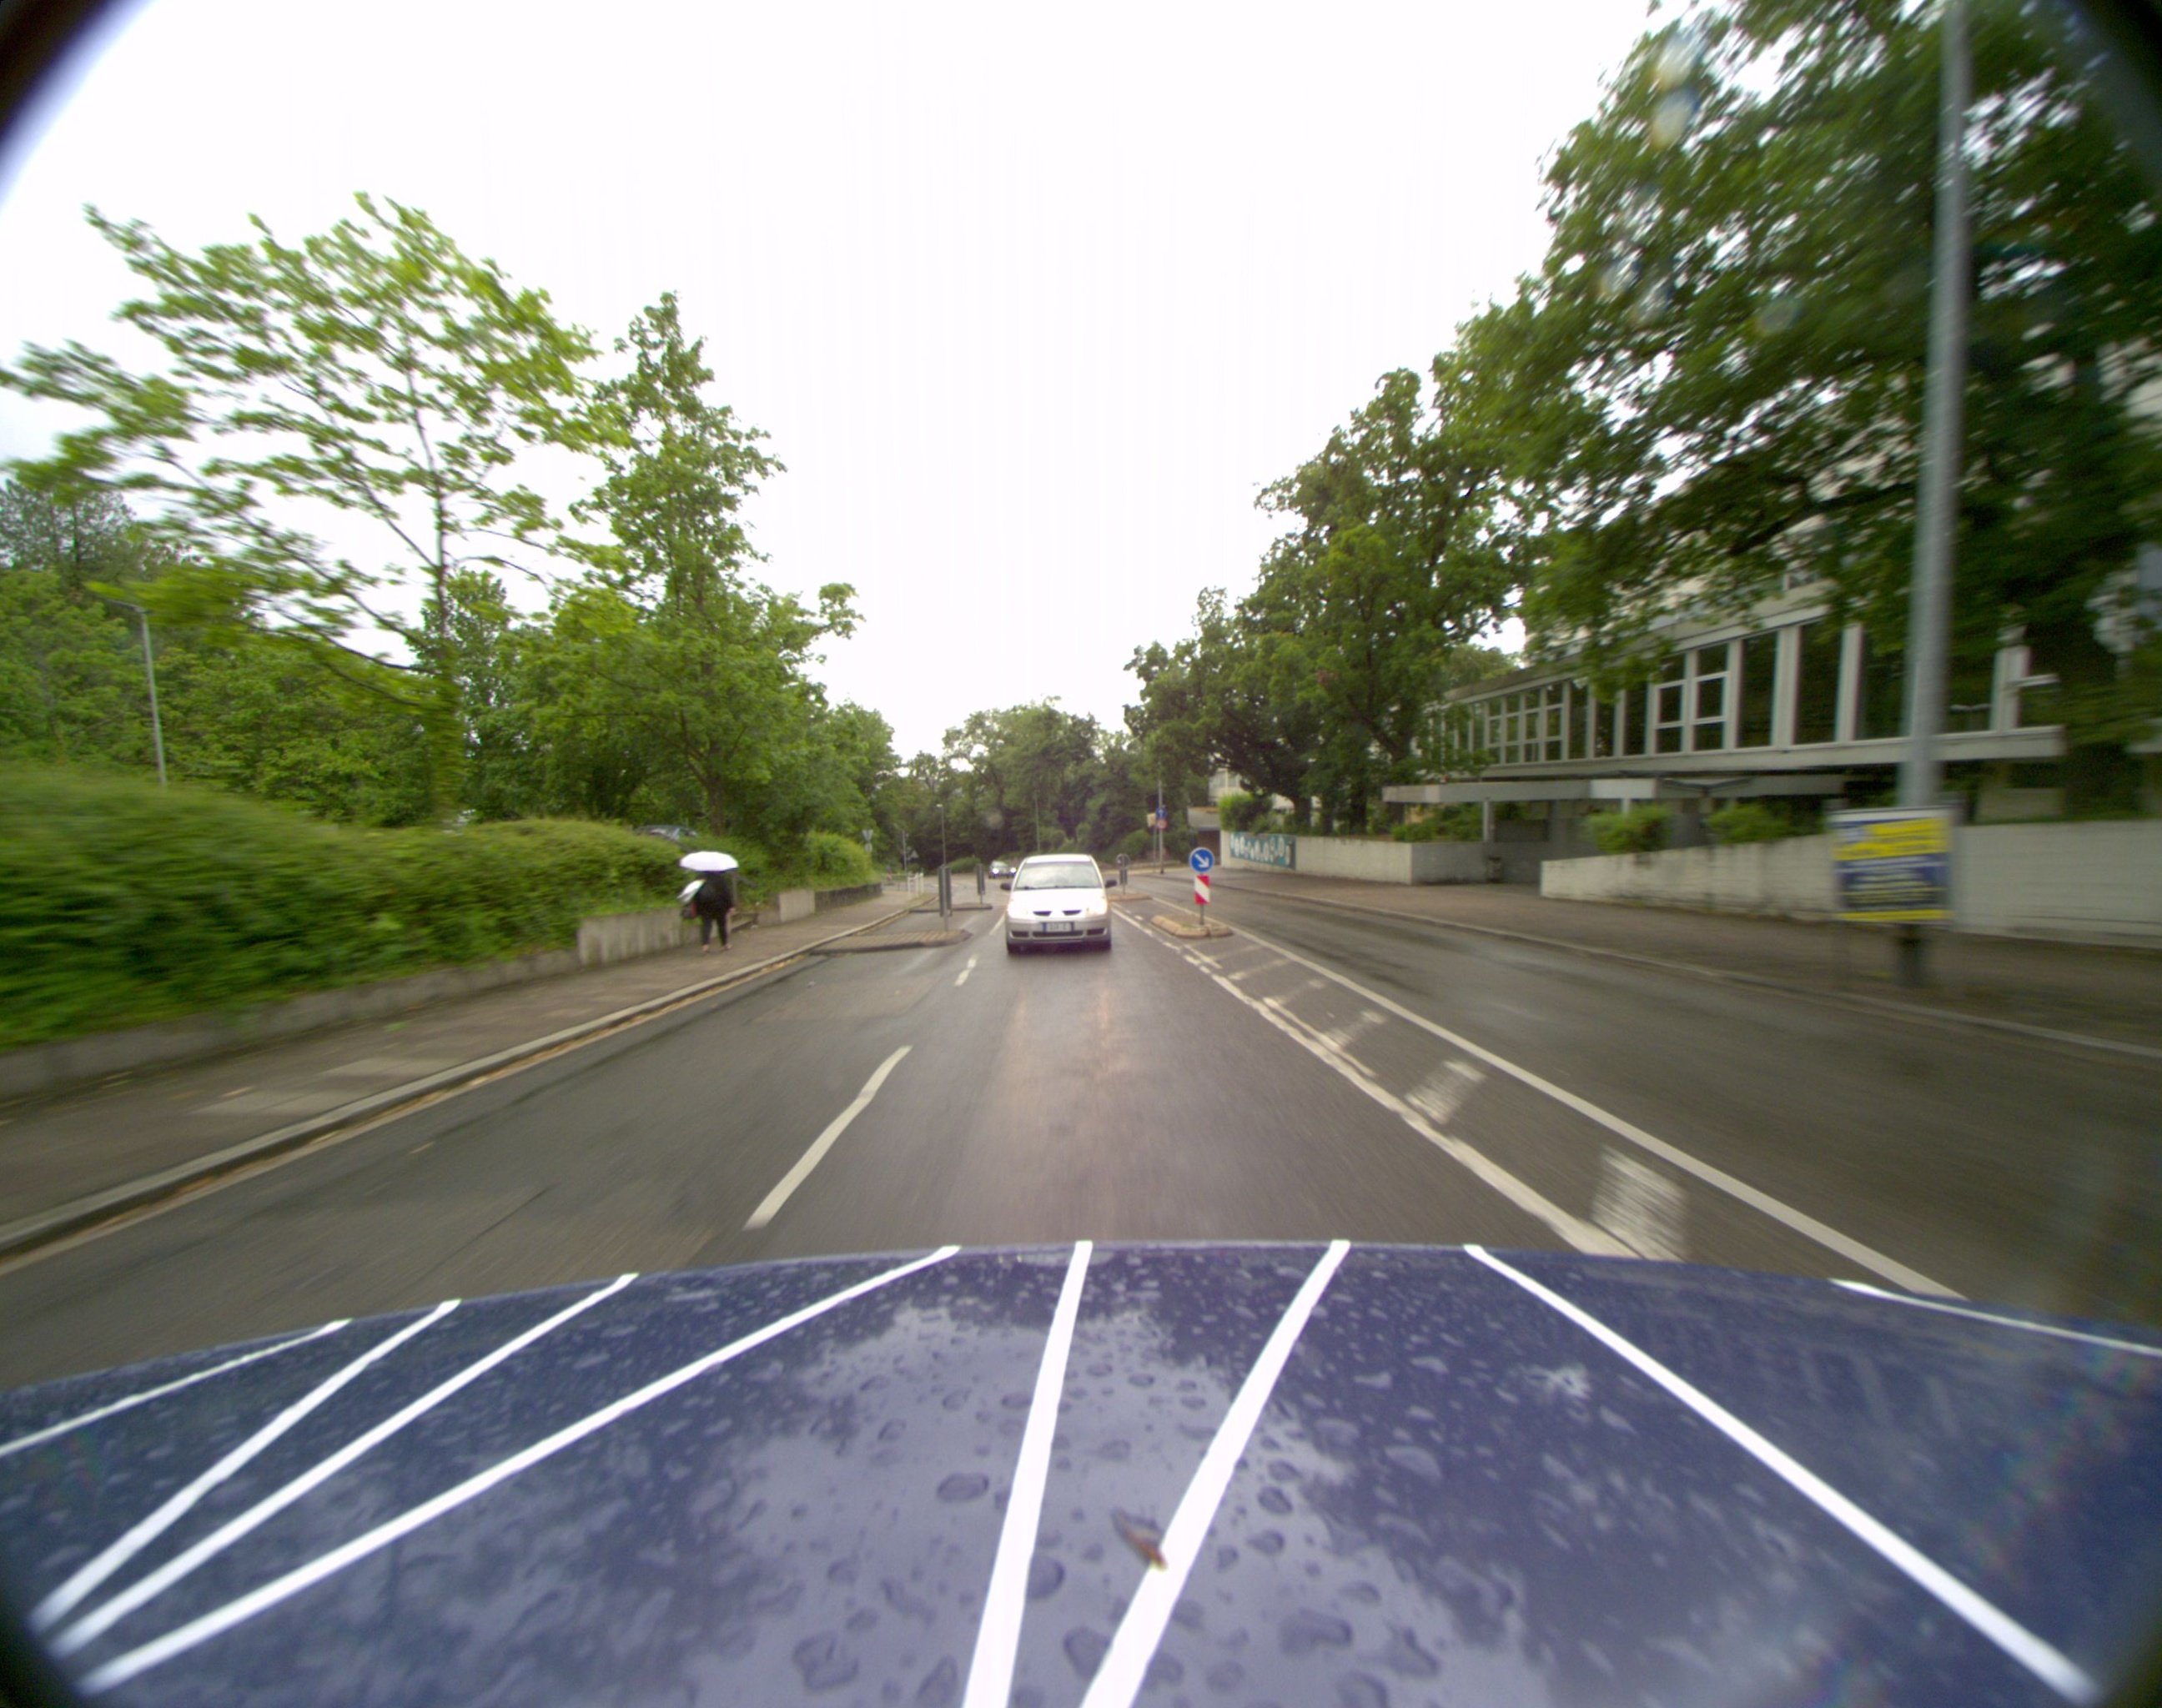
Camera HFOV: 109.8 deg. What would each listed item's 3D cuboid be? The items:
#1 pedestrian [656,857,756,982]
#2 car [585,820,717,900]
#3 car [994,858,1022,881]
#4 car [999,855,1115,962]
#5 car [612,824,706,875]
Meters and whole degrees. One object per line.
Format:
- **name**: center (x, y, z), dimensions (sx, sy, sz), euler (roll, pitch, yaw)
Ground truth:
- **pedestrian**: center (-6.177, 1.041, 12.594), dimensions (1.054, 1.883, 1.132), euler (-3, 3, -6)
- **car**: center (-12.165, 0.152, 21.748), dimensions (1.689, 2.002, 3.416), euler (-4, 0, 1)
- **car**: center (-5.964, 1.233, 61.712), dimensions (2.036, 1.691, 3.998), euler (-4, 0, -6)
- **car**: center (-0.370, 0.818, 13.379), dimensions (1.640, 1.496, 4.000), euler (-4, 0, 0)
- **car**: center (-12.166, -0.129, 22.085), dimensions (1.310, 1.301, 2.876), euler (-4, 1, -7)
